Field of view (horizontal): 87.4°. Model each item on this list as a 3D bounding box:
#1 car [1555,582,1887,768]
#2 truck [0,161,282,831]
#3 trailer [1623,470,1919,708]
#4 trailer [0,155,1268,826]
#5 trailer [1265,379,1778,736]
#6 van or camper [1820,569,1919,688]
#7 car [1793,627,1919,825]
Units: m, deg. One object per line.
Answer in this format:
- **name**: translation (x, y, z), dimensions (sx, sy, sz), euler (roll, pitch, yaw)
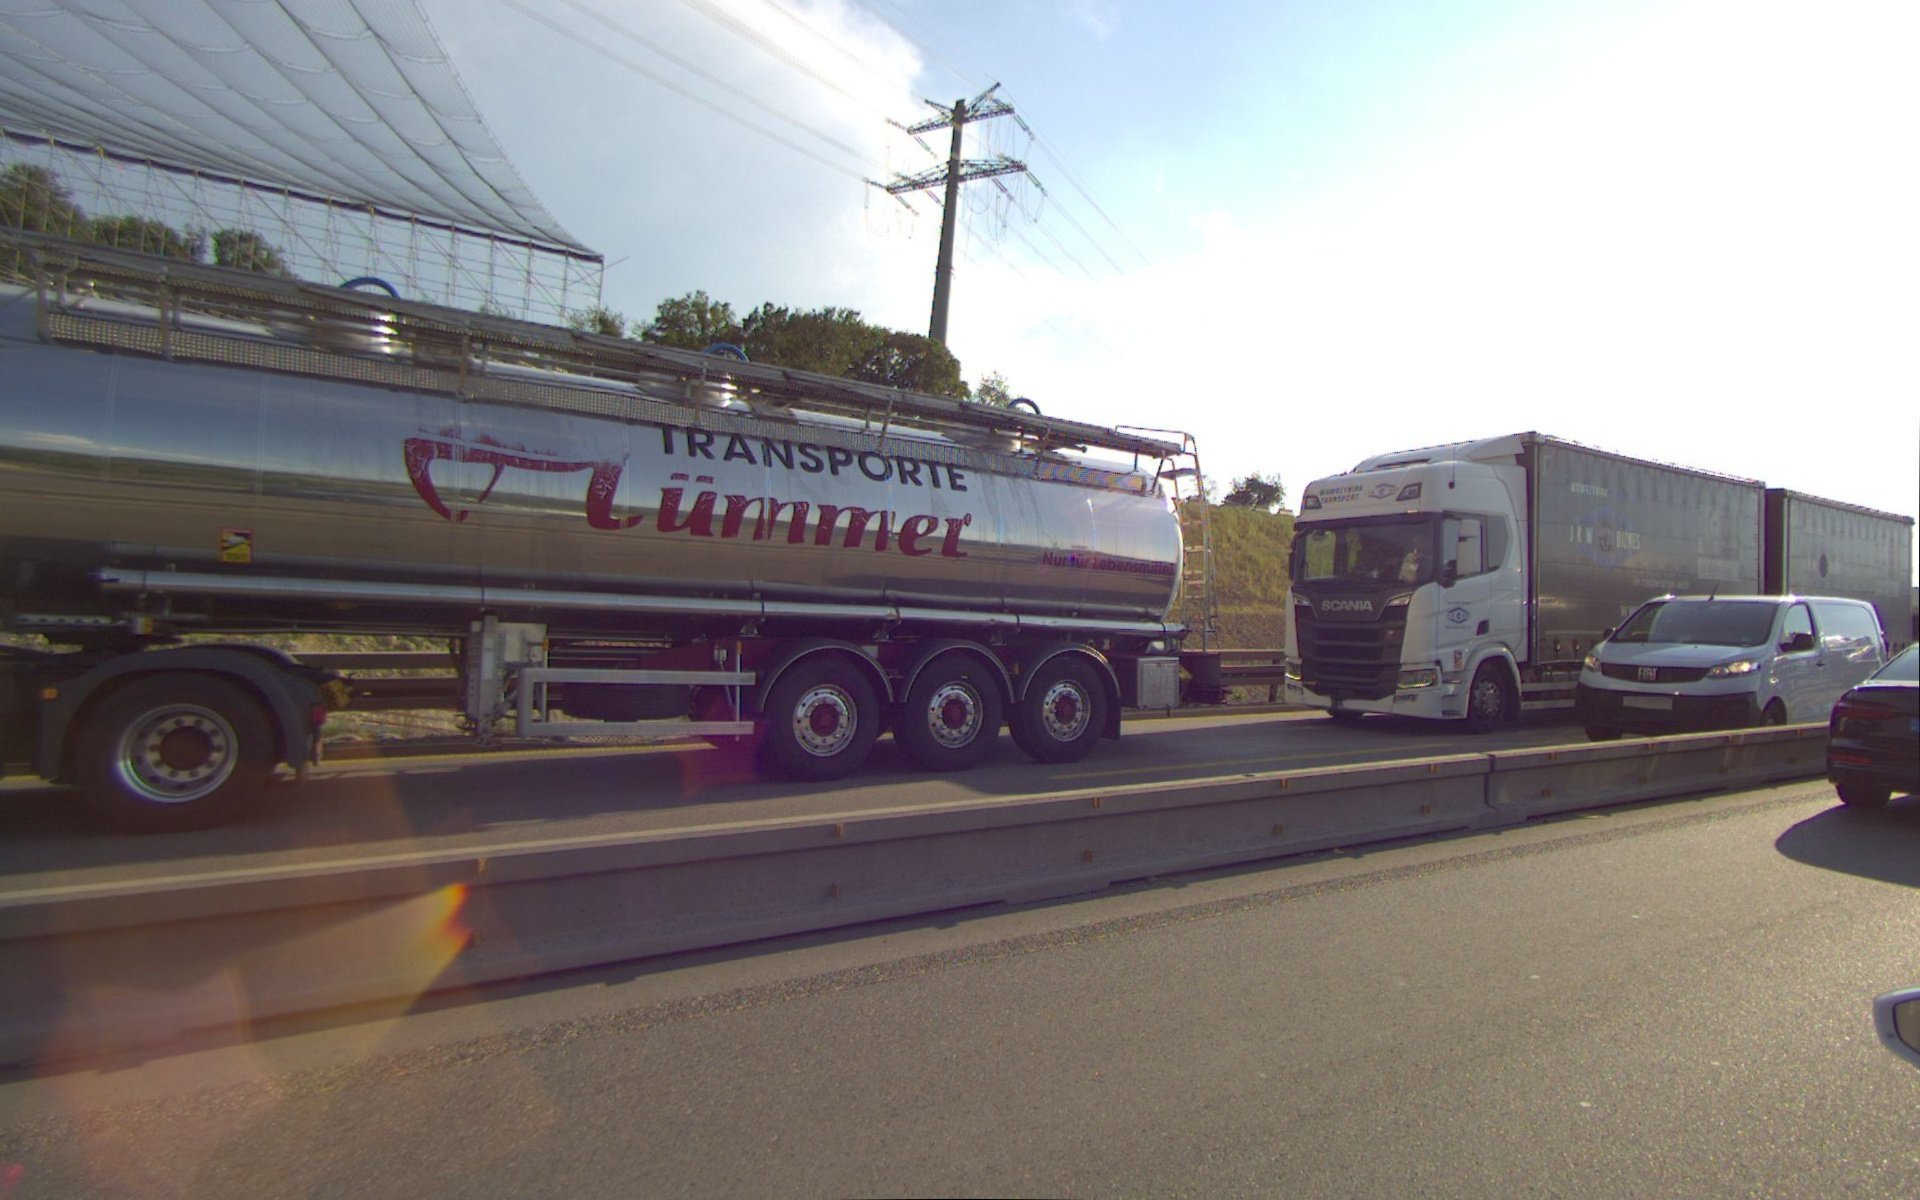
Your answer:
- **car**: translation (9.666, 0.866, 12.644), dimensions (4.784, 1.951, 1.806), euler (2, -1, -33)
- **truck**: translation (-7.502, -0.646, 5.936), dimensions (5.554, 3.835, 2.419), euler (2, -1, -32)
- **trailer**: translation (17.387, -0.055, 21.262), dimensions (8.453, 4.244, 2.428), euler (2, -1, -33)
- **trailer**: translation (-2.382, -0.486, 8.917), dimensions (11.912, 3.840, 2.296), euler (2, -1, -30)
- **trailer**: translation (9.463, -0.357, 16.136), dimensions (10.395, 4.386, 2.462), euler (2, -1, -32)
- **van or camper**: translation (26.292, 0.818, 27.355), dimensions (7.538, 2.929, 2.394), euler (2, -1, -34)
- **car**: translation (9.151, 0.985, 8.468), dimensions (4.908, 1.417, 1.923), euler (2, 0, -33)
